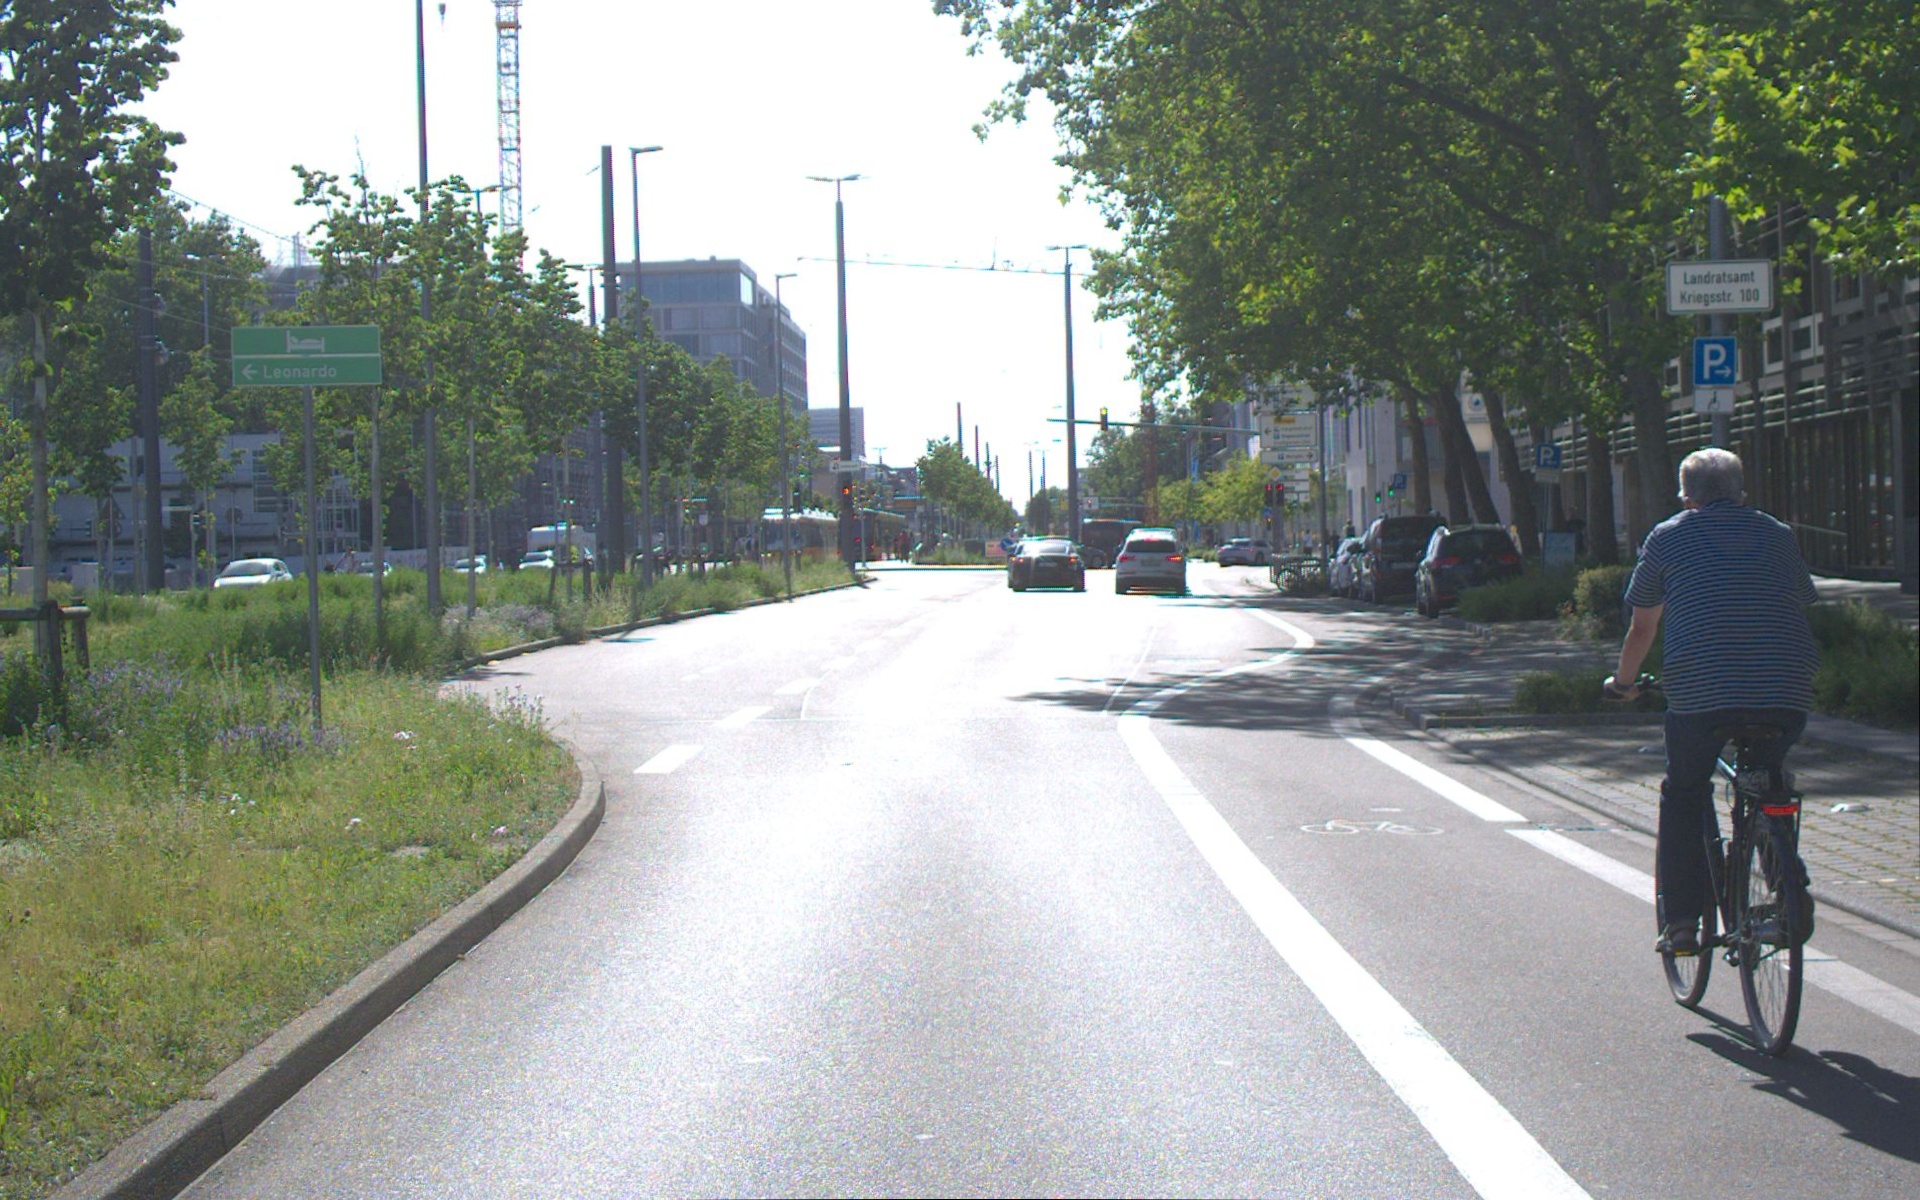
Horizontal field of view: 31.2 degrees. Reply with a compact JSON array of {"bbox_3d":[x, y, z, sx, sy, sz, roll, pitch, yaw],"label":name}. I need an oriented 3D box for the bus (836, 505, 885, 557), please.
[{"bbox_3d":[-5.916,-4.094,205.969,2.627,2.949,9.899,1,0,0],"label":"bus"}]

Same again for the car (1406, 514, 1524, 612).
[{"bbox_3d":[8.861,-0.683,60.599,1.704,1.637,4.635,-1,1,4],"label":"car"}]

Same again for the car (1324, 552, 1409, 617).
[{"bbox_3d":[9.962,-0.408,84.475,1.704,1.487,4.600,-1,1,3],"label":"car"}]

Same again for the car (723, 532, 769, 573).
[{"bbox_3d":[-9.794,-2.171,157.676,1.896,1.809,4.000,1,0,-1],"label":"car"}]

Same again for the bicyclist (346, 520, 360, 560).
[{"bbox_3d":[-22.141,-2.192,125.338,0.394,1.449,0.539,1,1,2],"label":"bicyclist"}]

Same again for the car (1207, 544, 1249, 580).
[{"bbox_3d":[12.402,-1.736,159.083,1.662,1.643,3.701,1,0,1],"label":"car"}]

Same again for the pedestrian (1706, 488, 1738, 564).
[{"bbox_3d":[16.130,-1.562,72.757,0.553,1.597,0.573,-1,1,3],"label":"pedestrian"}]

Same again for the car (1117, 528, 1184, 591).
[{"bbox_3d":[5.206,-1.121,93.661,1.722,1.612,4.186,-1,1,4],"label":"car"}]

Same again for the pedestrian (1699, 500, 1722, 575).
[{"bbox_3d":[15.904,-1.319,72.846,0.315,1.579,0.502,-1,1,-6],"label":"pedestrian"}]

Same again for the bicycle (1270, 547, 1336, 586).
[{"bbox_3d":[9.287,-0.910,93.009,1.693,0.954,0.478,-3,1,-1],"label":"bicycle"}]

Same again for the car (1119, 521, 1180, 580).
[{"bbox_3d":[5.879,-1.551,106.916,1.721,1.776,4.186,-1,1,1],"label":"car"}]

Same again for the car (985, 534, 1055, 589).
[{"bbox_3d":[1.719,-1.111,97.345,1.912,1.481,4.009,-1,1,2],"label":"car"}]

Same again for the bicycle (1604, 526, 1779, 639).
[{"bbox_3d":[8.954,-0.216,42.127,1.937,1.232,0.579,-4,1,0],"label":"bicycle"}]

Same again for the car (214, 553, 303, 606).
[{"bbox_3d":[-19.493,-0.577,95.651,1.633,1.393,3.833,-1,1,1],"label":"car"}]

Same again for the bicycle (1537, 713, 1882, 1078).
[{"bbox_3d":[2.257,0.854,10.607,0.497,0.903,2.197,0,1,-2],"label":"bicycle"}]

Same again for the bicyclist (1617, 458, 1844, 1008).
[{"bbox_3d":[2.302,0.384,10.305,0.512,1.595,0.536,-1,1,-2],"label":"bicyclist"}]

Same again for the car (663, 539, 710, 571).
[{"bbox_3d":[-10.255,-1.684,129.128,1.376,1.174,3.220,1,0,2],"label":"car"}]

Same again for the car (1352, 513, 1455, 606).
[{"bbox_3d":[9.257,-0.872,71.998,1.704,1.784,4.192,-3,1,3],"label":"car"}]

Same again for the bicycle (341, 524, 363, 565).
[{"bbox_3d":[-22.164,-2.025,125.353,0.360,1.450,1.913,-1,1,3],"label":"bicycle"}]
